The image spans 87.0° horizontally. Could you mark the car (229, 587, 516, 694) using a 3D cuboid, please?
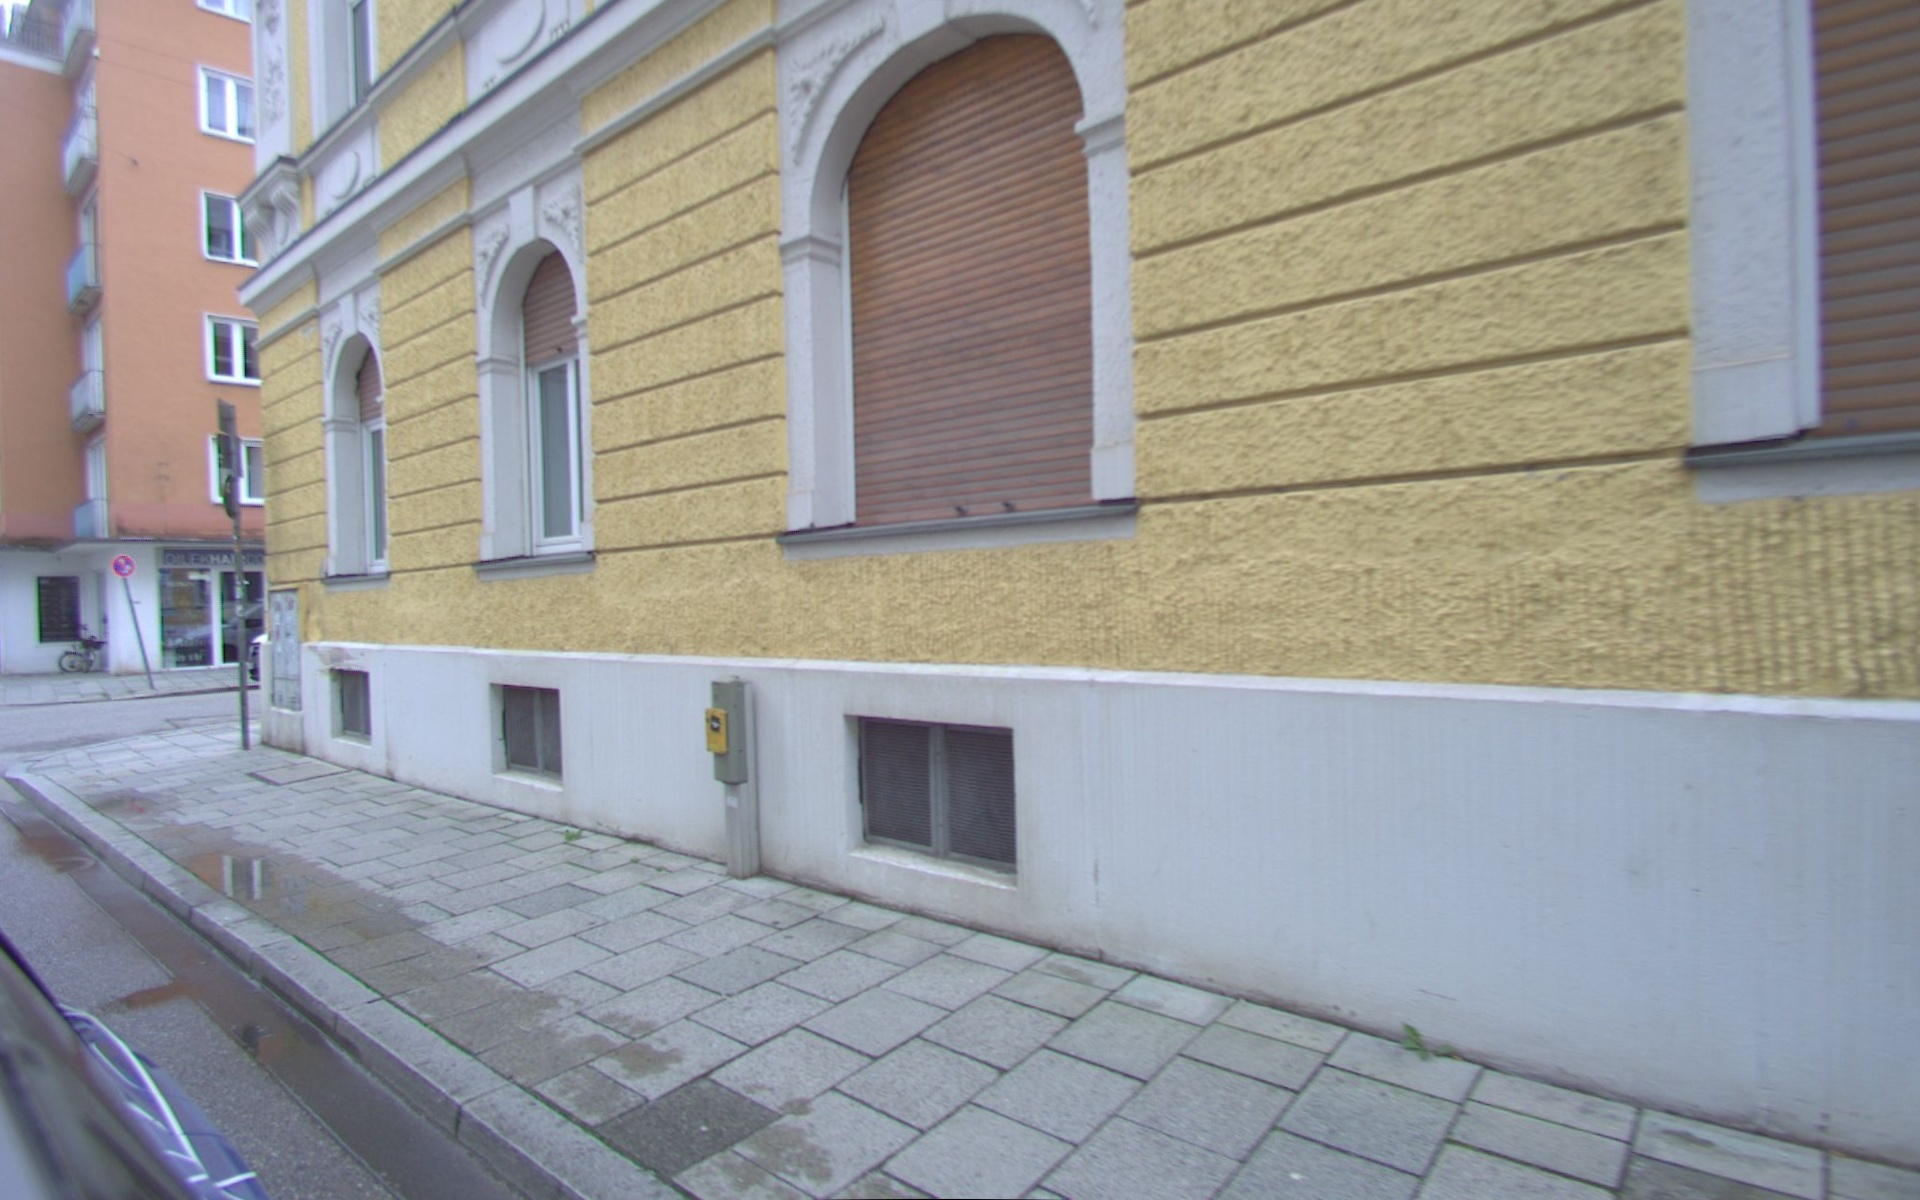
[{"bbox_3d":[-11.674,0.752,20.334,1.934,1.861,4.615,-6,-4,44],"label":"car"}]

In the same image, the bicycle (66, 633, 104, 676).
[{"bbox_3d":[-20.002,1.223,23.128,1.513,0.936,0.465,-1,0,42],"label":"bicycle"}]
